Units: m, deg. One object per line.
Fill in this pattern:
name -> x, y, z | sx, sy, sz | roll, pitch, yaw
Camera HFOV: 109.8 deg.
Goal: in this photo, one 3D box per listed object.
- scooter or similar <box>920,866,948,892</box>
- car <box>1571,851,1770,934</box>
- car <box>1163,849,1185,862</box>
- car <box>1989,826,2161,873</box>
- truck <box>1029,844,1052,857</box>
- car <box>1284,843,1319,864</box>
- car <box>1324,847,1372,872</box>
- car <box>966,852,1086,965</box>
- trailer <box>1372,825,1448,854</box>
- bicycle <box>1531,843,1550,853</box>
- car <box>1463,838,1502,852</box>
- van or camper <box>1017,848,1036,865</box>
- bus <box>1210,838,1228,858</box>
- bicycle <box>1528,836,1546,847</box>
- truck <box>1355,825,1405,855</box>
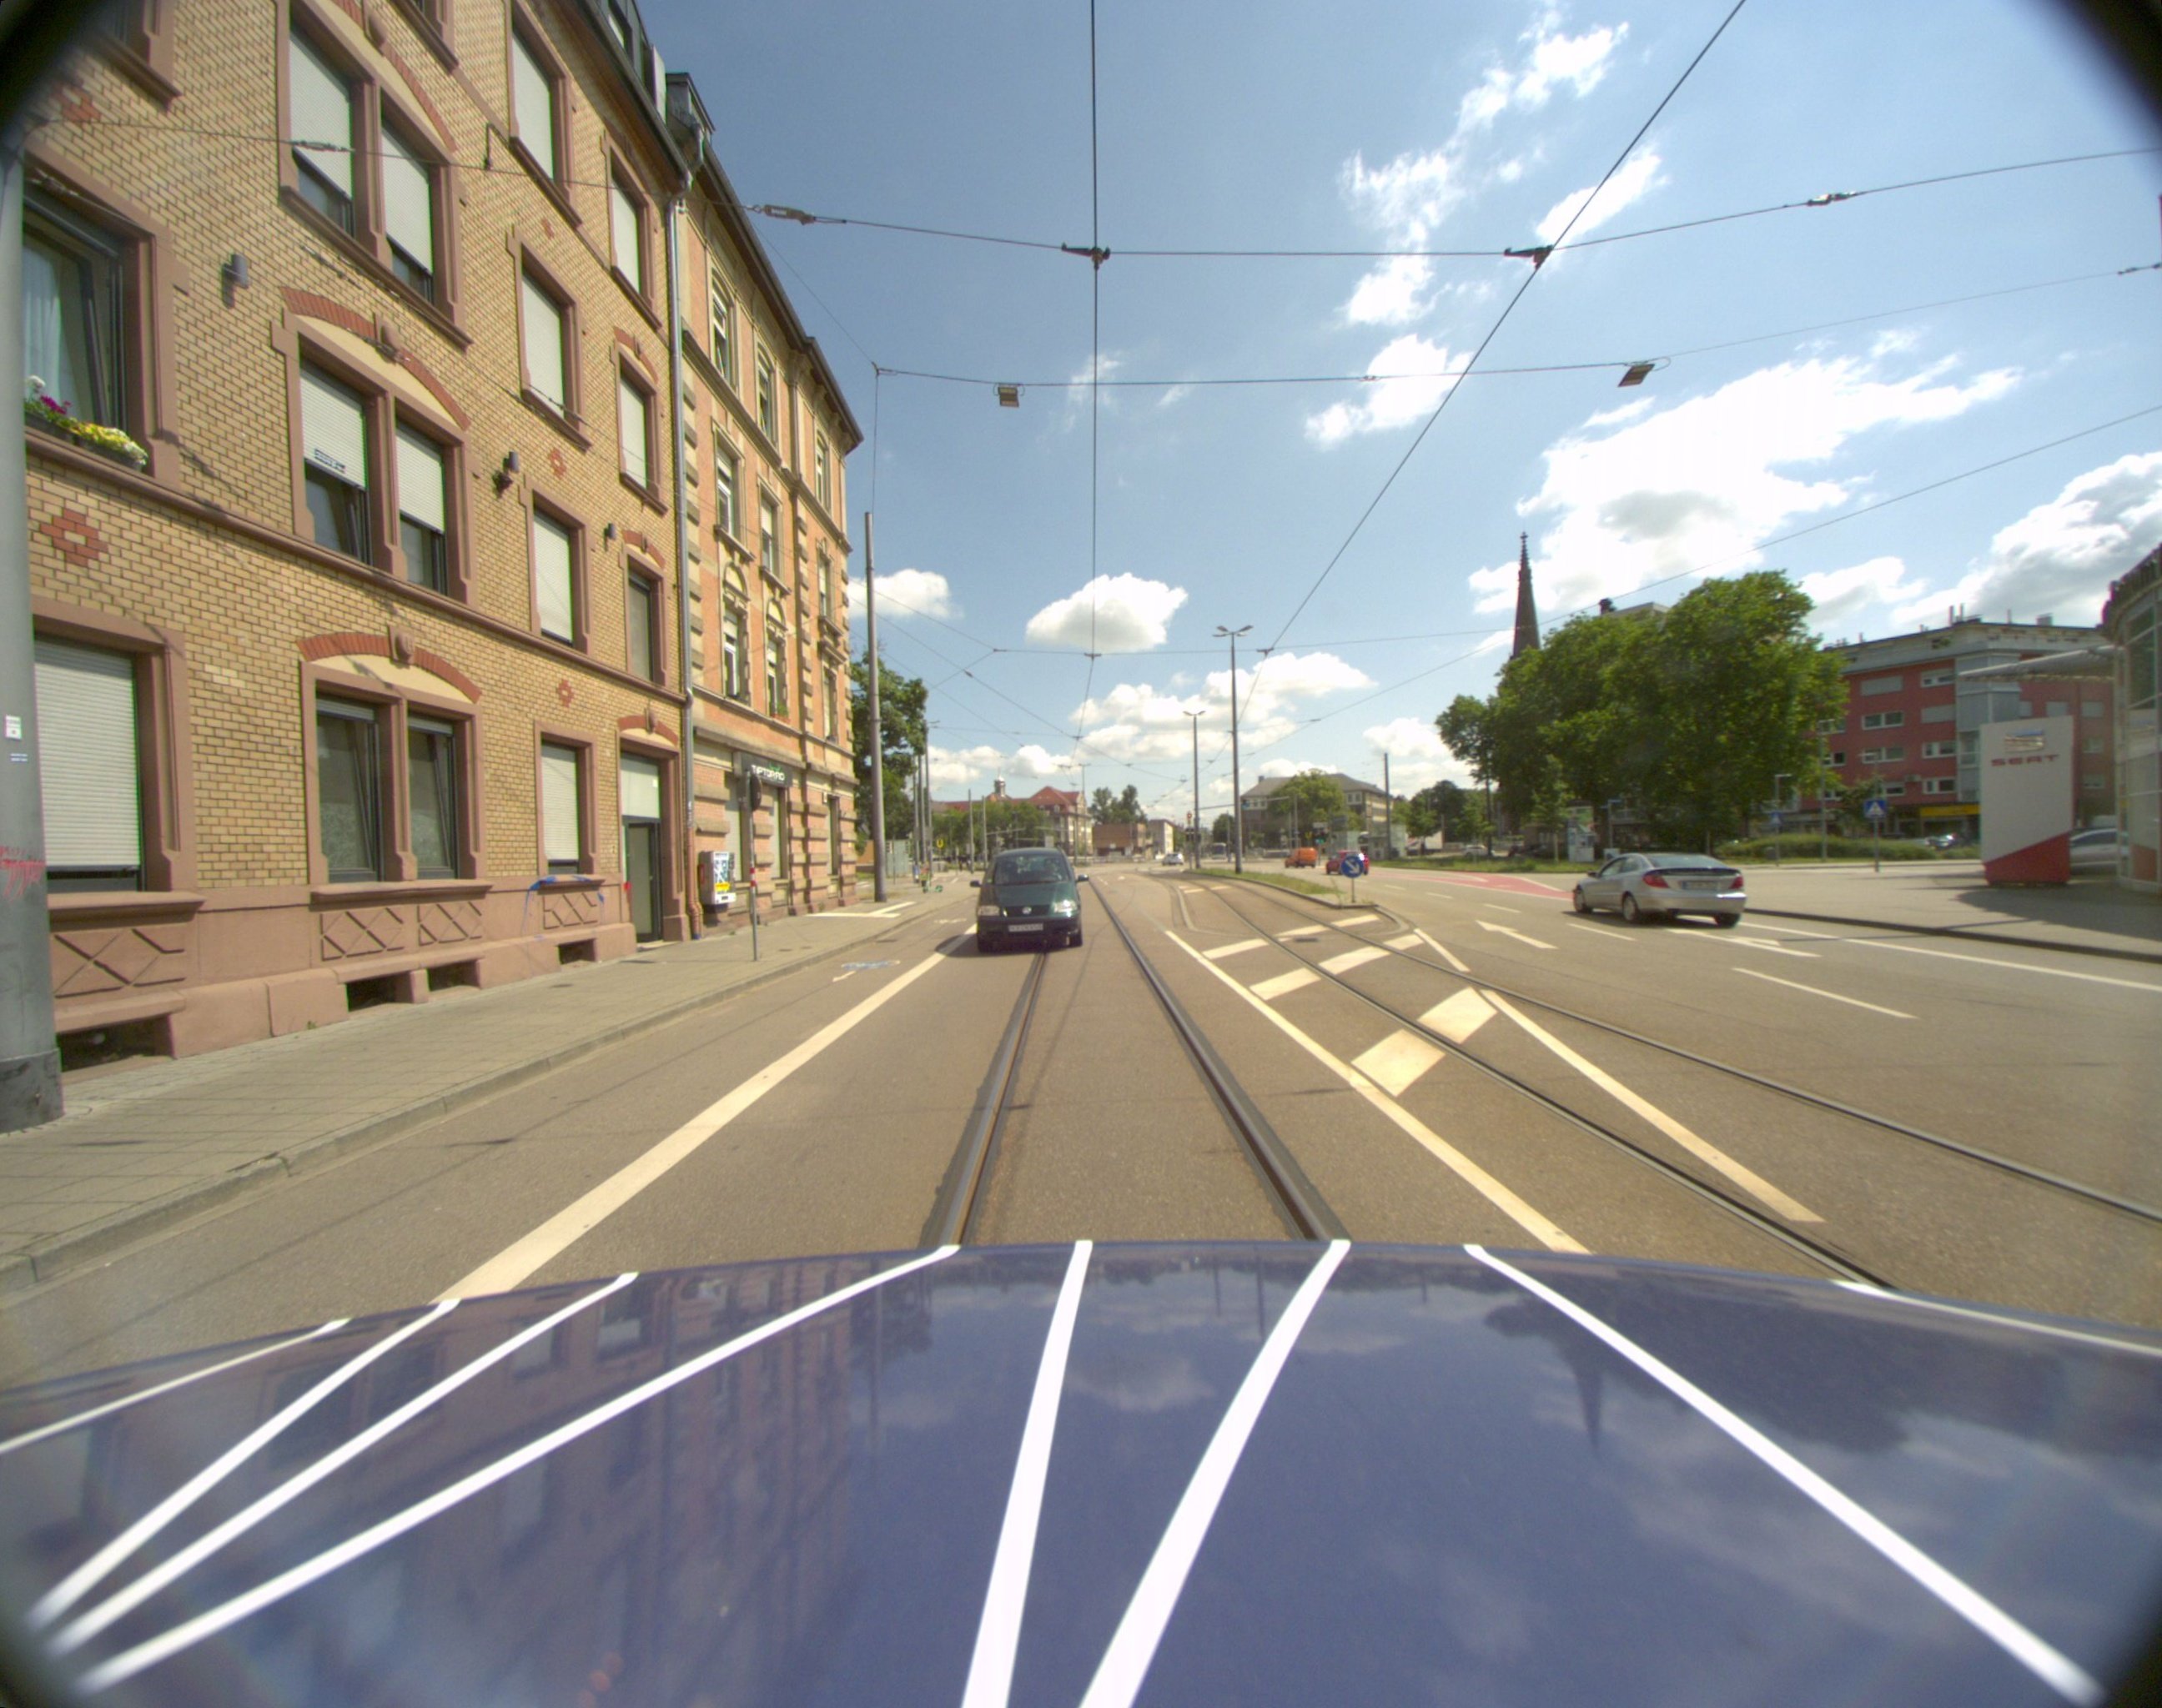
scooter or similar -> -6.898, 1.178, 35.674 | 0.949, 1.173, 1.086 | -1, 1, 6
car -> 11.739, 0.671, 15.521 | 1.817, 1.412, 4.192 | 0, 1, 17
car -> 12.225, 0.196, 99.896 | 1.772, 1.594, 4.489 | -1, 0, -8
car -> 33.650, -0.132, 25.508 | 1.838, 1.438, 3.937 | -2, 1, -36
truck -> -9.790, -0.864, 185.023 | 3.351, 2.980, 8.742 | -2, 0, 12
car -> 20.455, -0.014, 70.544 | 1.916, 1.855, 4.366 | -1, 0, -1
car -> 16.043, 0.304, 45.823 | 1.705, 1.420, 3.903 | -1, 0, 3
car -> -0.869, 0.847, 13.966 | 1.819, 1.707, 4.084 | -2, 0, 0
trailer -> 48.462, -2.204, 111.676 | 13.440, 4.053, 2.942 | -2, 1, -31
bicycle -> 48.215, -0.639, 79.702 | 0.494, 1.060, 1.598 | -3, 0, -31
car -> 51.878, -1.121, 98.232 | 4.164, 1.633, 1.631 | -2, 0, 18
van or camper -> -9.045, 0.440, 126.431 | 2.234, 2.719, 5.516 | -2, 0, -13
bus -> 25.538, -1.060, 140.477 | 2.947, 3.427, 7.954 | -2, 0, 11
bicycle -> 49.832, -1.327, 83.069 | 0.494, 1.161, 1.598 | -3, 1, -31
truck -> 42.559, -2.071, 108.133 | 6.889, 4.095, 2.957 | -2, 1, -31
